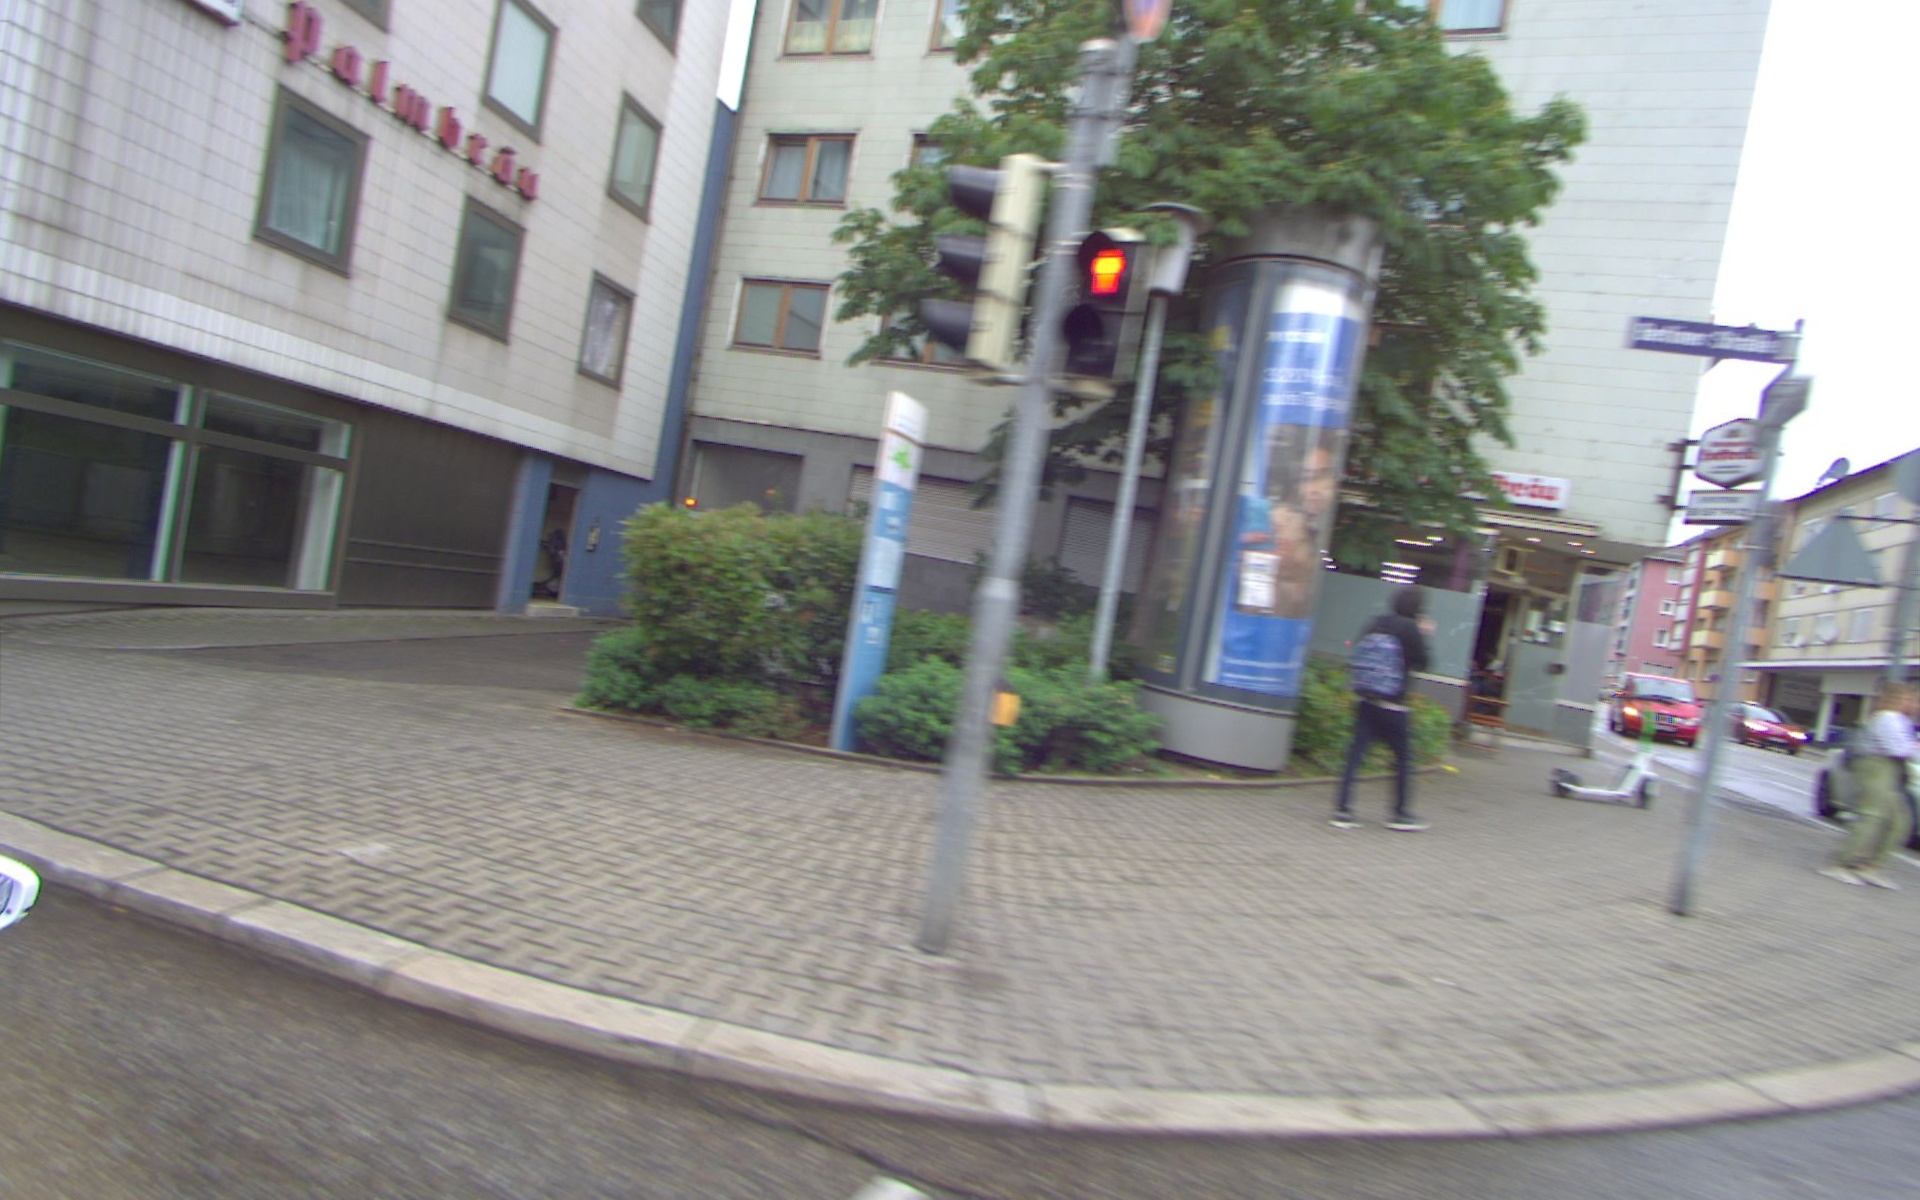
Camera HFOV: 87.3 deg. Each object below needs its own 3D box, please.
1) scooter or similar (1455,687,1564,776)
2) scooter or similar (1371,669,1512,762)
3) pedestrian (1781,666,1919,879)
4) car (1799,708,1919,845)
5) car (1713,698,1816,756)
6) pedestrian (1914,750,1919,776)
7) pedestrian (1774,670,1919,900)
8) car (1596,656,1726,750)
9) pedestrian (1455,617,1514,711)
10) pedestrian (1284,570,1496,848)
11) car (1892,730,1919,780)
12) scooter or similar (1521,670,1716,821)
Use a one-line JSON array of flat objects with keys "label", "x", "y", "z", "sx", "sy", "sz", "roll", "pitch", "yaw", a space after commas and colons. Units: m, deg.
[{"label": "scooter or similar", "x": 6.677, "y": 1.581, "z": 12.289, "sx": 0.452, "sy": 0.852, "sz": 1.322, "roll": 12, "pitch": 0, "yaw": 0}, {"label": "scooter or similar", "x": 6.137, "y": 1.459, "z": 12.890, "sx": 0.545, "sy": 0.852, "sz": 1.453, "roll": 11, "pitch": 0, "yaw": -30}, {"label": "pedestrian", "x": 8.174, "y": 1.525, "z": 8.976, "sx": 0.699, "sy": 1.669, "sz": 0.755, "roll": 10, "pitch": 4, "yaw": -13}, {"label": "car", "x": 12.930, "y": 2.388, "z": 13.076, "sx": 1.816, "sy": 1.531, "sz": 4.000, "roll": 9, "pitch": 0, "yaw": 23}, {"label": "car", "x": 30.525, "y": 4.768, "z": 38.315, "sx": 1.816, "sy": 1.693, "sz": 4.000, "roll": 10, "pitch": 0, "yaw": 23}, {"label": "pedestrian", "x": 37.639, "y": 6.102, "z": 39.006, "sx": 0.512, "sy": 1.577, "sz": 0.568, "roll": 12, "pitch": 5, "yaw": 23}, {"label": "pedestrian", "x": 7.583, "y": 1.514, "z": 8.327, "sx": 0.699, "sy": 1.669, "sz": 0.755, "roll": 10, "pitch": 4, "yaw": -13}, {"label": "car", "x": 20.943, "y": 3.058, "z": 30.296, "sx": 2.034, "sy": 2.267, "sz": 4.620, "roll": 10, "pitch": 0, "yaw": 24}, {"label": "pedestrian", "x": 8.547, "y": 1.045, "z": 16.414, "sx": 0.511, "sy": 1.416, "sz": 0.579, "roll": 12, "pitch": 1, "yaw": 19}, {"label": "pedestrian", "x": 3.125, "y": 0.780, "z": 7.377, "sx": 0.904, "sy": 1.842, "sz": 0.750, "roll": 7, "pitch": 4, "yaw": -20}, {"label": "car", "x": 30.641, "y": 4.993, "z": 30.726, "sx": 1.635, "sy": 1.438, "sz": 4.071, "roll": 9, "pitch": 1, "yaw": 22}, {"label": "scooter or similar", "x": 6.755, "y": 1.485, "z": 10.343, "sx": 1.536, "sy": 1.204, "sz": 0.500, "roll": 12, "pitch": 1, "yaw": -7}]
